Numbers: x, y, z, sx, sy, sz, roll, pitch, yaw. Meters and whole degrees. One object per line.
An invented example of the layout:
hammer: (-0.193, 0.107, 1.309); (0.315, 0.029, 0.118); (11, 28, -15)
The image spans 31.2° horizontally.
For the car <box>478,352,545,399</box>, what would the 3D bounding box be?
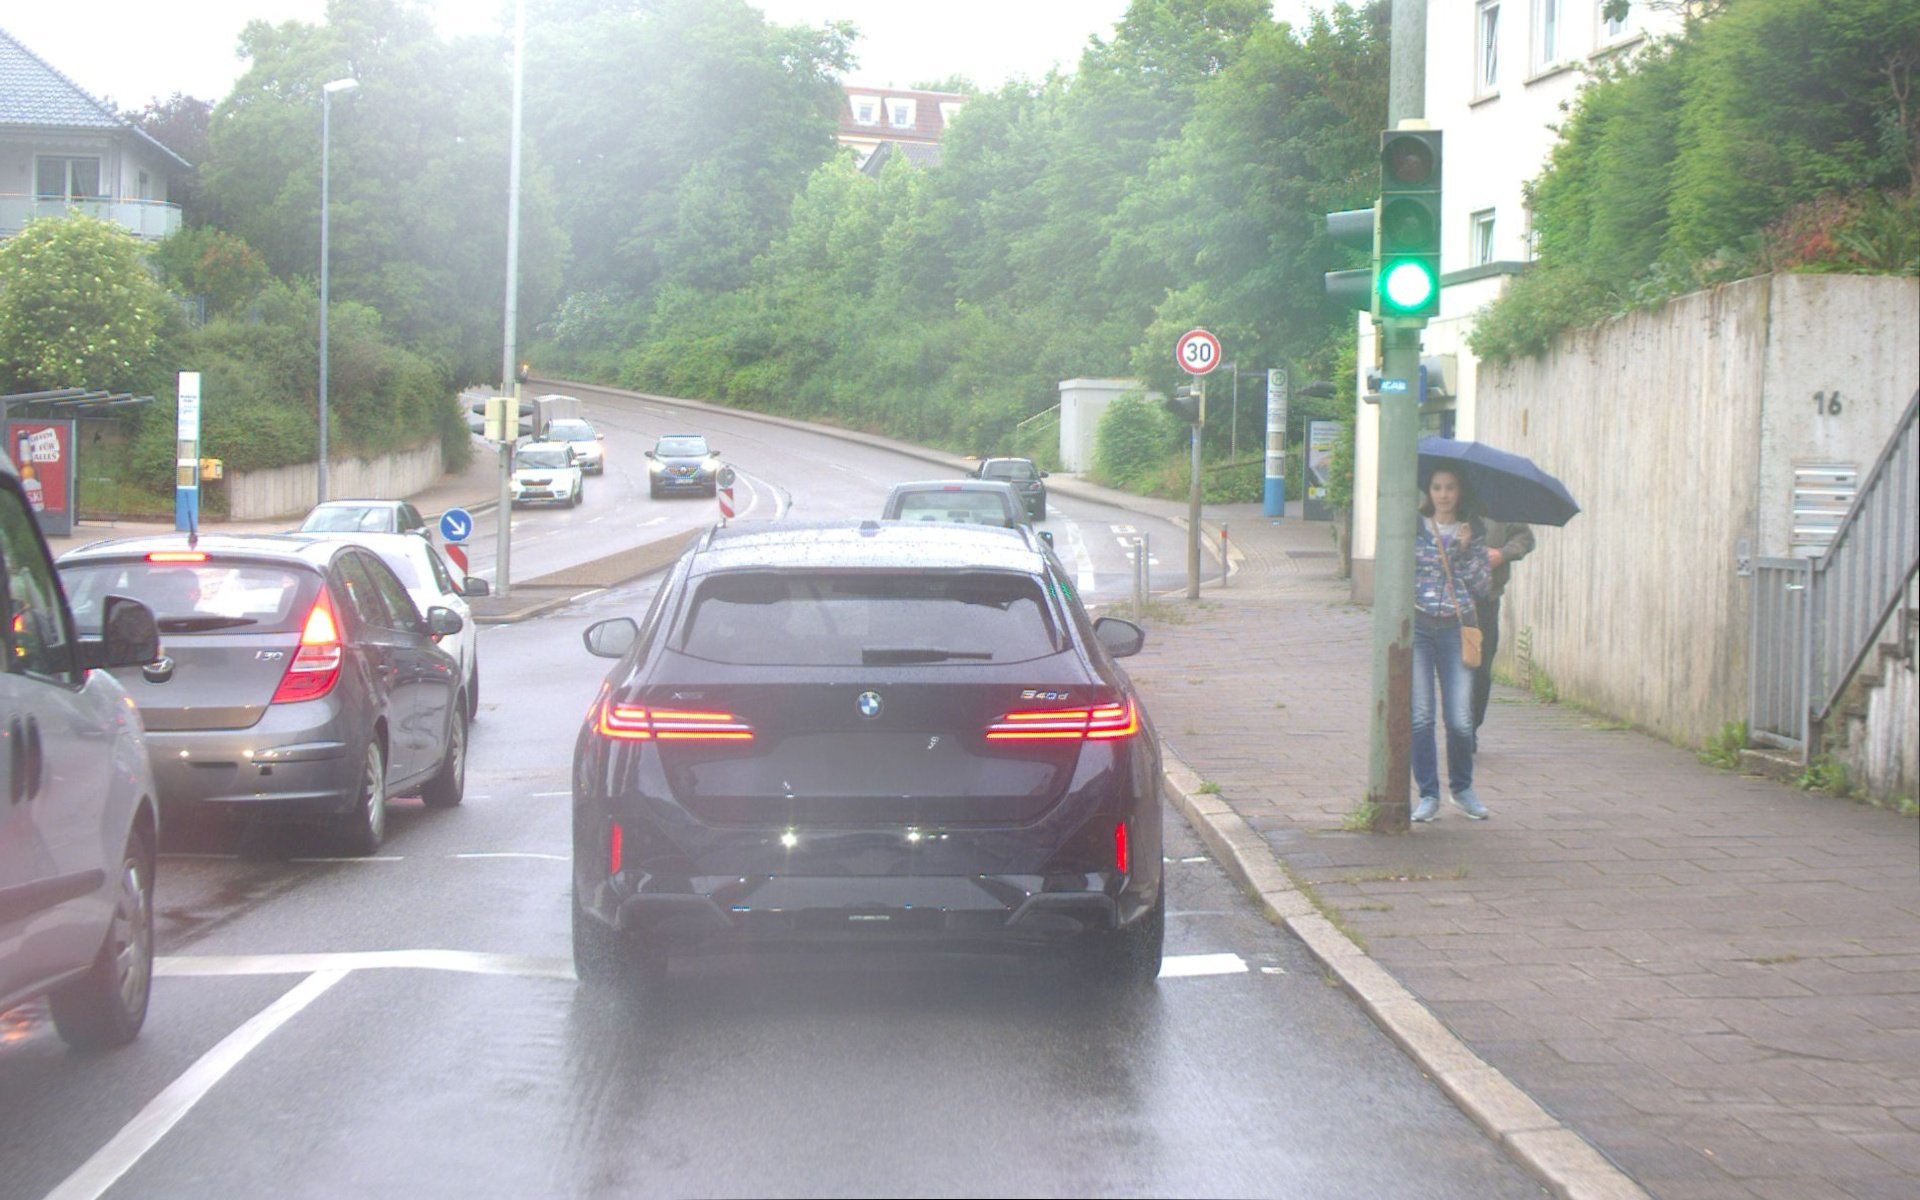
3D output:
car: (-20.990, -10.493, 160.688); (1.993, 2.007, 4.001); (-1, 2, -24)

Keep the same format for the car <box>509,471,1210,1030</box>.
car: (-0.543, 0.431, 12.187); (1.993, 1.581, 4.664); (1, 0, -7)

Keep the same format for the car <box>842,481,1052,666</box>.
car: (-0.195, -0.332, 35.678); (1.993, 1.742, 4.001); (-1, 3, -3)

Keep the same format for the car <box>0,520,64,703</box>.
car: (-9.102, 0.098, 29.644); (1.835, 1.551, 4.771); (-1, 1, -5)

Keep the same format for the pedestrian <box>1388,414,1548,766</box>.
pedestrian: (2.949, -0.066, 20.018); (0.797, 2.007, 0.734); (0, 1, 0)

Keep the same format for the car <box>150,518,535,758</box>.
car: (-4.198, 0.191, 24.107); (1.908, 1.523, 4.652); (0, 1, -1)

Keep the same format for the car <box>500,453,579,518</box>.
car: (-11.024, -3.016, 90.386); (1.823, 1.651, 4.467); (-1, 2, -4)

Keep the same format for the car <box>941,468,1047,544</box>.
car: (0.768, -2.244, 81.259); (1.851, 1.656, 4.002); (1, 3, -9)

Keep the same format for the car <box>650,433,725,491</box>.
car: (-7.549, -3.785, 94.902); (1.840, 1.546, 4.385); (-1, 2, -7)

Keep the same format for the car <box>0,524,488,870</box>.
car: (-3.476, 0.373, 16.760); (1.835, 1.482, 4.059); (0, 1, -1)

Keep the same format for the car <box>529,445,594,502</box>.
car: (-12.393, -3.954, 106.701); (1.899, 1.677, 4.481); (0, 3, -8)

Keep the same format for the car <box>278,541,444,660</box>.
car: (-8.316, -0.029, 48.008); (1.993, 1.568, 4.001); (-1, 1, -6)

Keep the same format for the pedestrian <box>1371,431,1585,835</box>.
pedestrian: (2.357, 0.135, 15.740); (0.793, 1.774, 1.011); (-1, 1, 0)

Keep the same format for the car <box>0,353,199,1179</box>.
car: (-3.165, 0.372, 8.051); (1.951, 1.864, 4.747); (-1, 1, -3)
